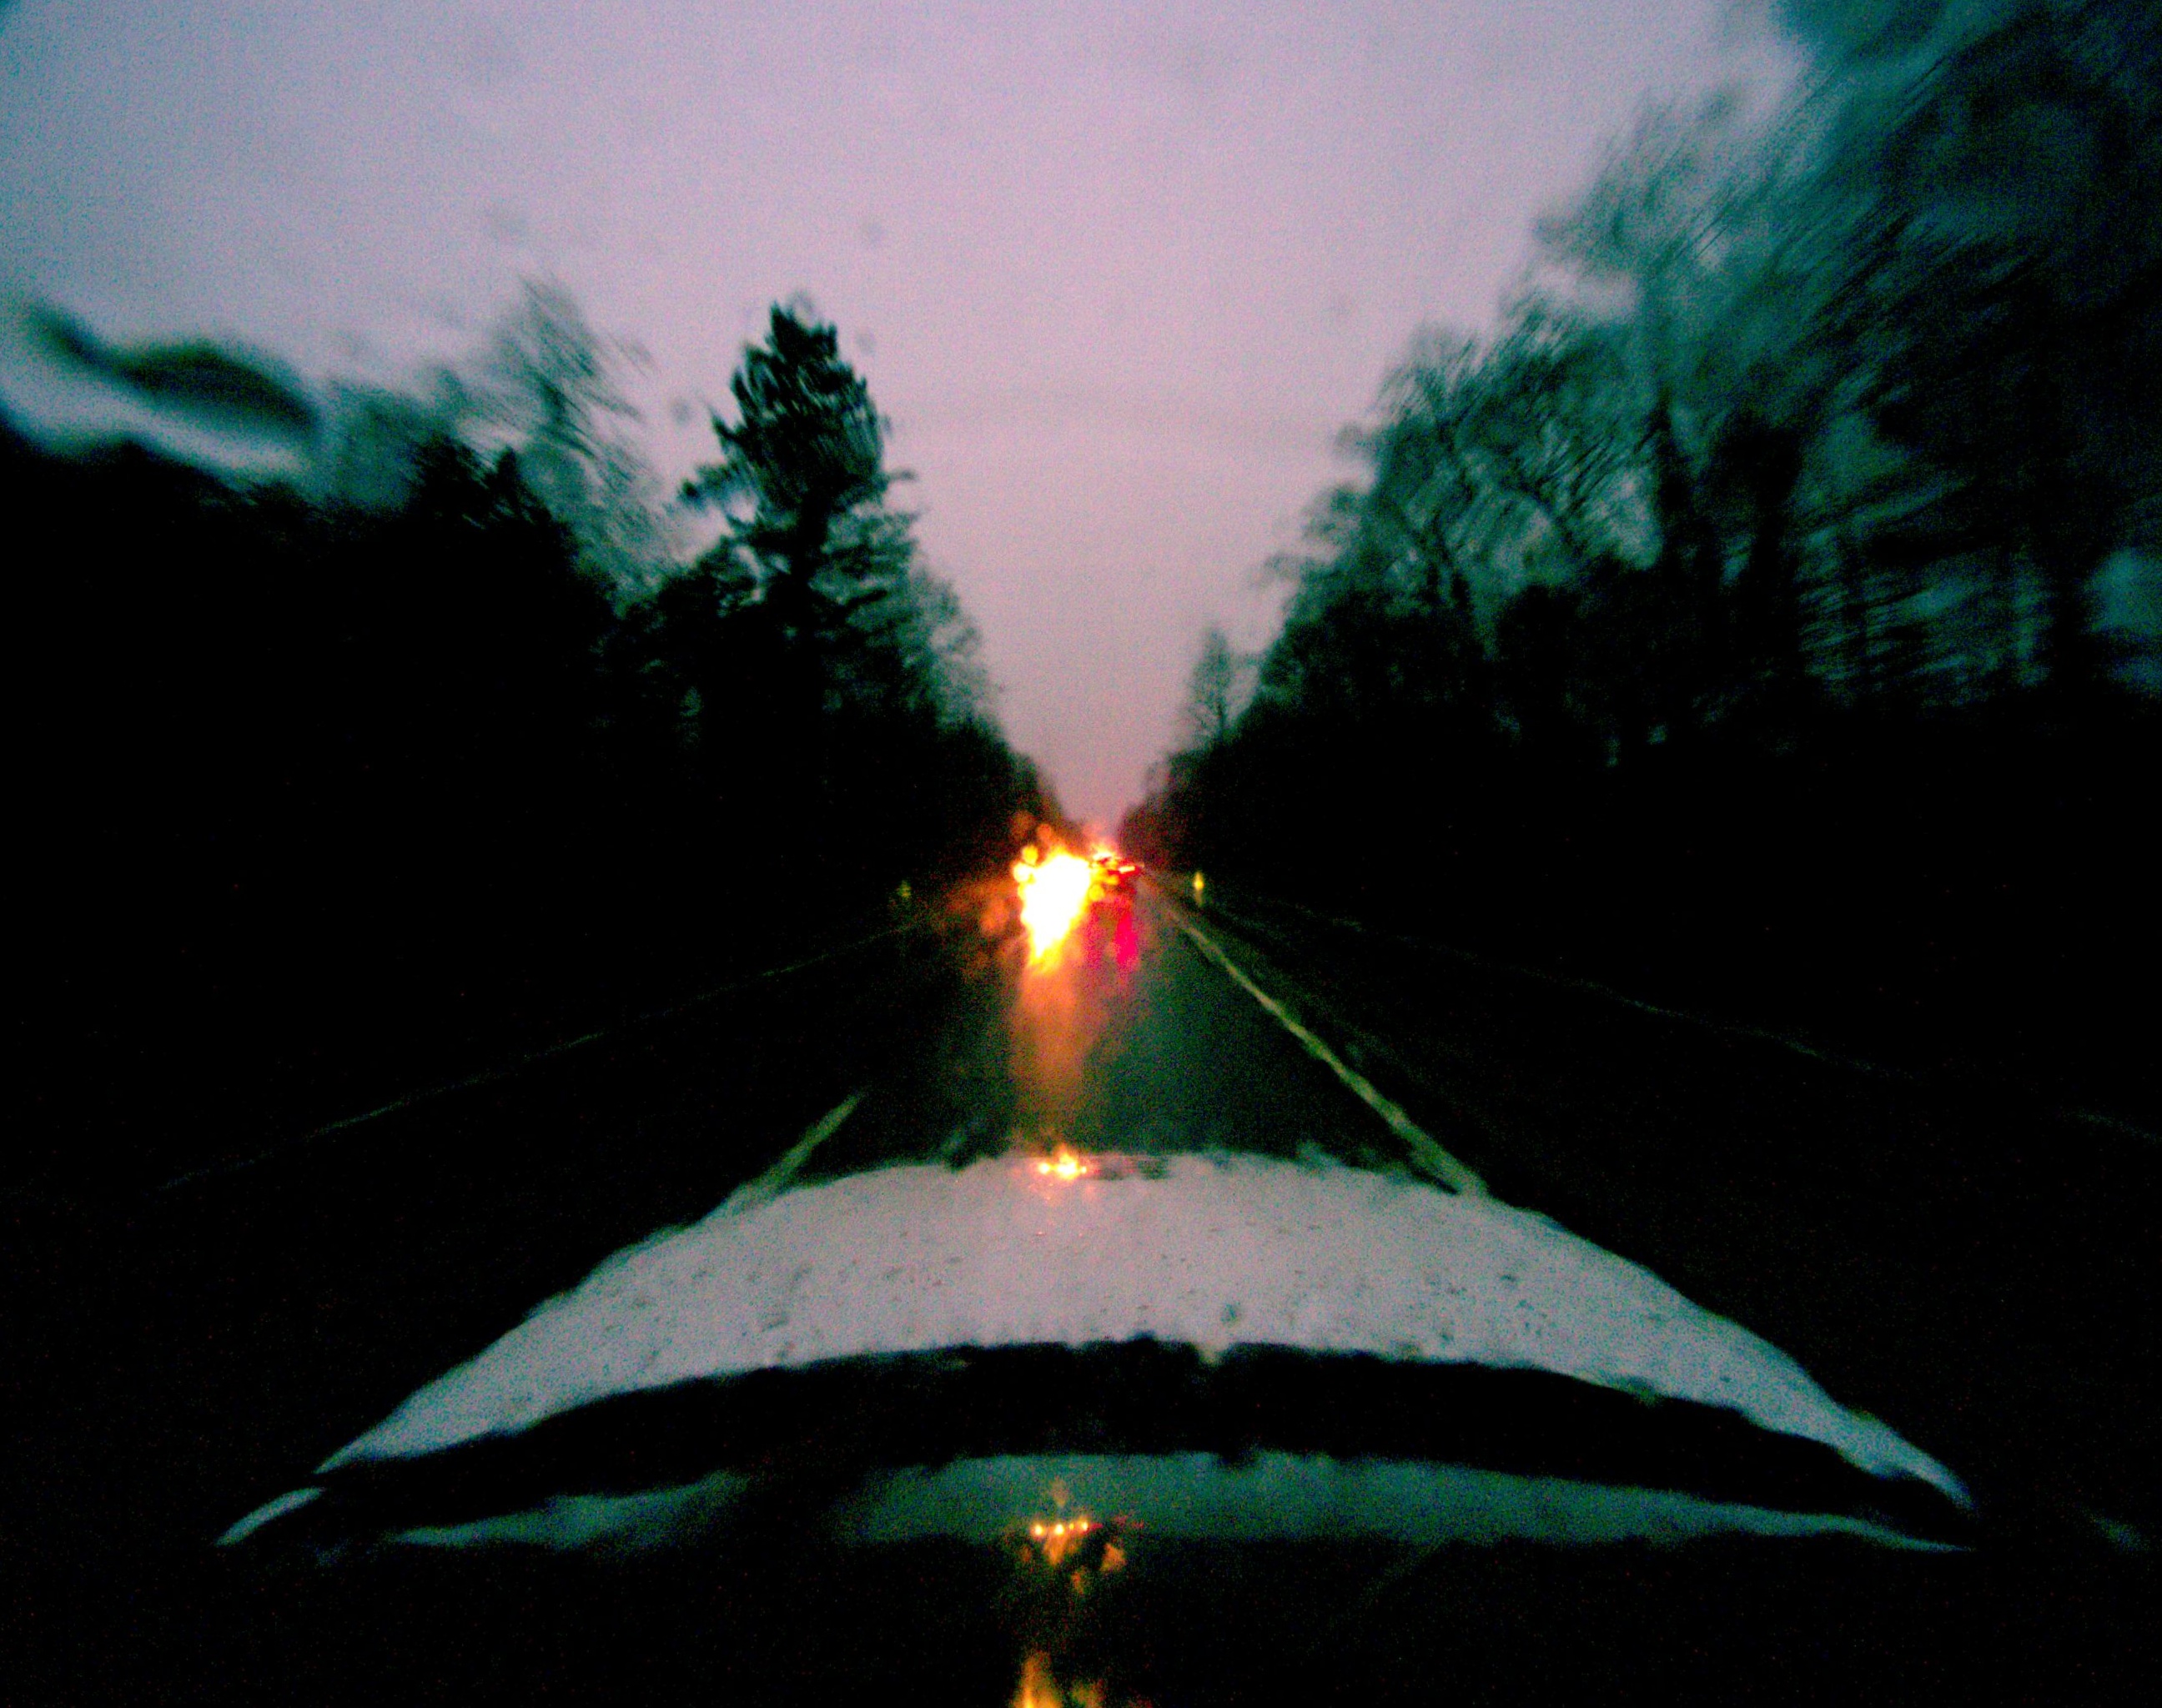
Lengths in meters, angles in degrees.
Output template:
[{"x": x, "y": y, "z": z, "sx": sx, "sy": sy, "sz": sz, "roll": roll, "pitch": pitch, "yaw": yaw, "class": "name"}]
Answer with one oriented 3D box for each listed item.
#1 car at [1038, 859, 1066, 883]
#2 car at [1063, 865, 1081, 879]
[{"x": -1.861, "y": 1.097, "z": 53.429, "sx": 1.507, "sy": 1.413, "sz": 3.663, "roll": -2, "pitch": 0, "yaw": 2, "class": "car"}, {"x": -0.891, "y": 1.831, "z": 84.794, "sx": 1.697, "sy": 1.363, "sz": 4.377, "roll": -1, "pitch": -1, "yaw": 1, "class": "car"}]
